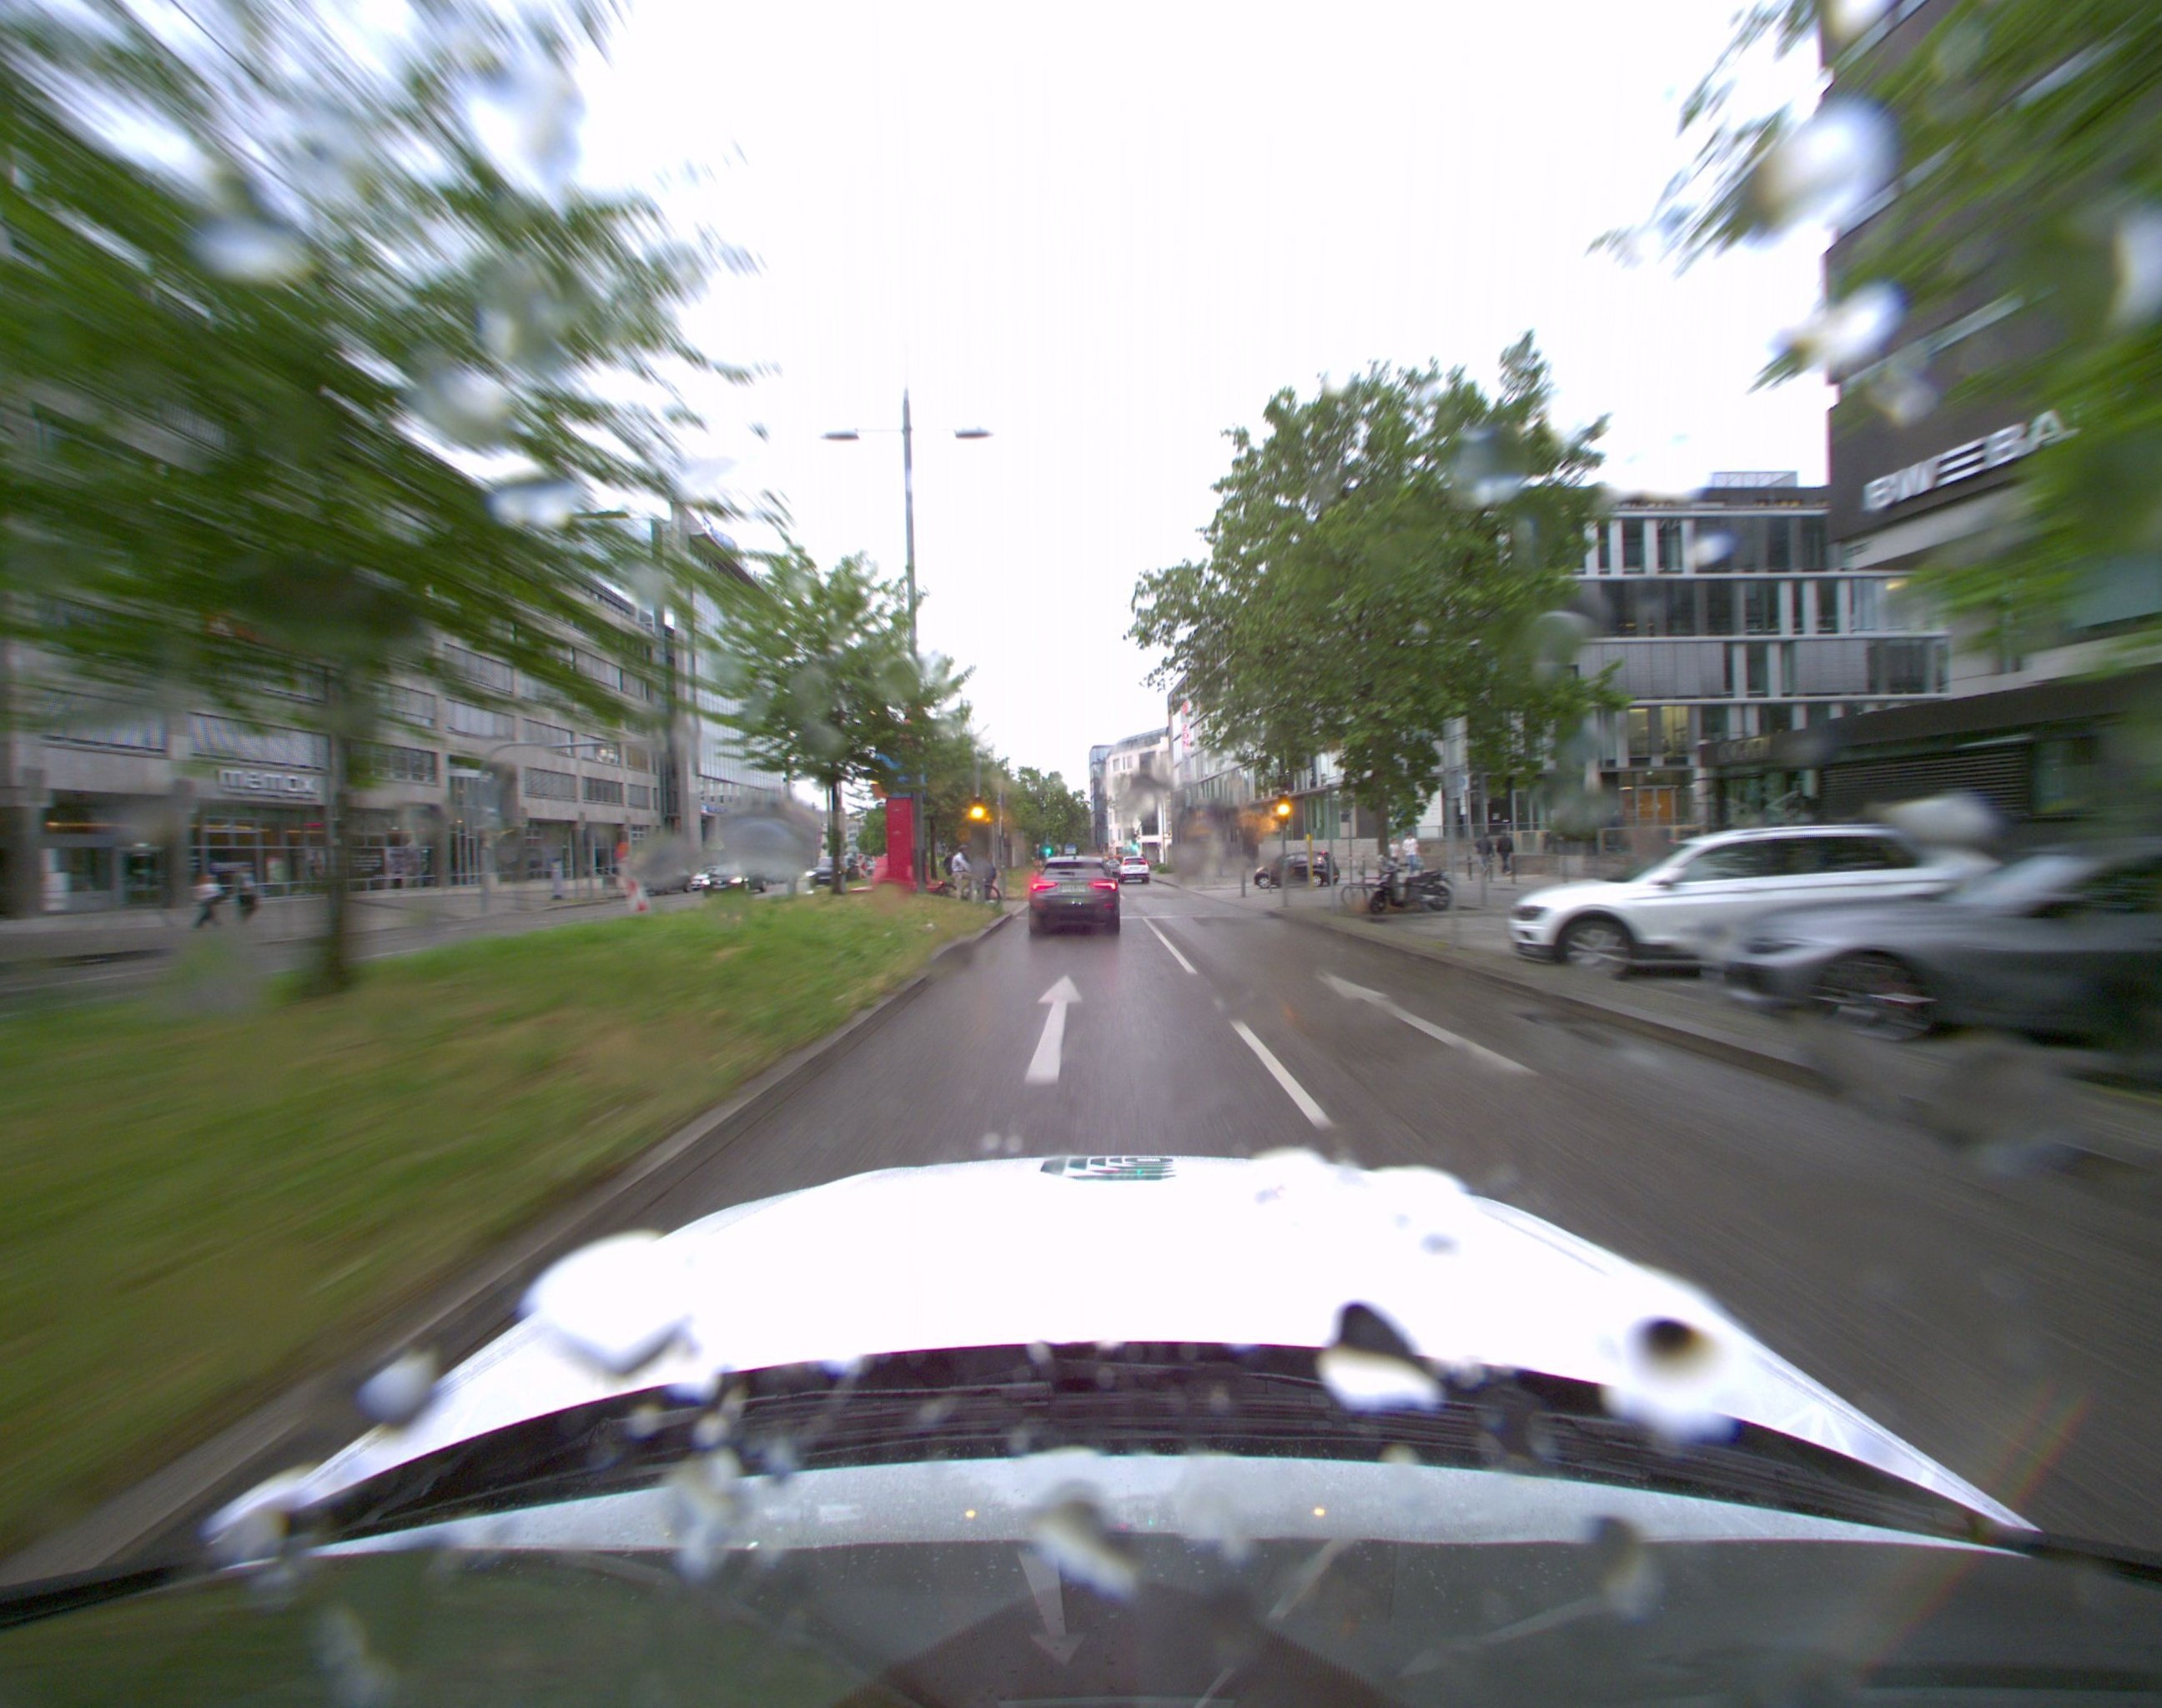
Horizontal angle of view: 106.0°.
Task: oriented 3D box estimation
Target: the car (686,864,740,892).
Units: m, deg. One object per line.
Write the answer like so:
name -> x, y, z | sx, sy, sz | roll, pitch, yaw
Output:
car -> -22.730, 1.460, 50.449 | 1.806, 1.548, 3.992 | -3, -1, -5

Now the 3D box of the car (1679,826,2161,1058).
car -> 7.353, 0.582, 6.260 | 4.252, 1.488, 1.855 | -3, 0, 31

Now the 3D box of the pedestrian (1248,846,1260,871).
pedestrian -> 14.549, 0.374, 68.381 | 0.929, 2.115, 1.079 | -1, -1, 14

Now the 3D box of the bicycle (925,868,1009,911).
bicycle -> -3.208, 1.000, 23.089 | 2.246, 1.162, 0.751 | 1, -1, 1

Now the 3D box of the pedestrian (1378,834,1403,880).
pedestrian -> 13.200, 0.140, 34.723 | 0.860, 1.904, 0.888 | -1, -1, 14

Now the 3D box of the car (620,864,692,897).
car -> -22.248, 1.351, 42.839 | 1.872, 1.536, 4.069 | -3, -1, -5

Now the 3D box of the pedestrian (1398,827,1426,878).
pedestrian -> 14.066, -0.070, 34.616 | 0.929, 2.115, 1.079 | -1, -1, 14

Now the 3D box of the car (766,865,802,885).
car -> -24.916, 1.719, 68.513 | 1.806, 1.548, 3.992 | -3, -1, -5

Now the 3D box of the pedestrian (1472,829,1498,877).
pedestrian -> 15.557, -0.046, 31.386 | 0.635, 1.783, 0.774 | -5, -2, 18

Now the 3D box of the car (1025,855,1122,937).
car -> -0.071, 0.804, 17.630 | 1.842, 1.523, 4.041 | -1, 0, 2

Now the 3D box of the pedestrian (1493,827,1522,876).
pedestrian -> 16.205, -0.110, 30.977 | 0.660, 1.783, 0.923 | -6, -2, 17

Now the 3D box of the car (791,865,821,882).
car -> -26.794, 1.882, 79.481 | 1.806, 1.548, 3.992 | -3, -1, -5

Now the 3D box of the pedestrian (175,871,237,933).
pedestrian -> -23.998, 1.309, 22.334 | 0.988, 1.645, 0.678 | -2, 0, 8

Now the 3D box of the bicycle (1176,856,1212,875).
bicycle -> 7.918, 0.792, 57.088 | 2.334, 1.312, 0.708 | -1, 0, -5

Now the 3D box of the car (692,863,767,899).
car -> -15.224, 1.139, 35.468 | 1.803, 1.310, 3.992 | -3, 1, -6

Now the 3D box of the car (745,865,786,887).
car -> -24.277, 1.638, 62.823 | 1.806, 1.548, 3.992 | -3, -1, -5

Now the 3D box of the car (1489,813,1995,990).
car -> 7.165, 0.504, 9.464 | 4.177, 1.669, 1.850 | -3, 0, 29

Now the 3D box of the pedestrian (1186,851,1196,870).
pedestrian -> 11.788, 0.725, 87.130 | 0.853, 2.014, 0.975 | 0, -1, -3

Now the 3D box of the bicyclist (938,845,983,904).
bicyclist -> -3.403, 0.573, 23.104 | 1.100, 1.622, 0.751 | 2, -1, 1

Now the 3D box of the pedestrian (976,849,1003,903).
pedestrian -> -3.117, 0.738, 27.695 | 0.657, 1.793, 0.754 | -1, -1, 15

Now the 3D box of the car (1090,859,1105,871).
car -> 2.196, 1.433, 106.360 | 1.842, 1.523, 4.041 | -1, 0, 3

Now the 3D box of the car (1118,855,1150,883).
car -> 3.276, 0.896, 50.645 | 1.842, 1.669, 4.041 | -1, 0, 3

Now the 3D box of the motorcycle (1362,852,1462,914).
motorcycle -> 7.640, 0.669, 18.875 | 2.015, 1.415, 0.728 | -1, -1, 10

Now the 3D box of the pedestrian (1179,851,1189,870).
pedestrian -> 11.170, 0.746, 88.305 | 0.853, 2.014, 0.975 | 0, -1, -3

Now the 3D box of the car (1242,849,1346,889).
car -> 8.737, 0.604, 33.601 | 3.815, 1.568, 1.677 | -1, -1, 44

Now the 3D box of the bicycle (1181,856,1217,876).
bicycle -> 7.979, 0.791, 55.226 | 2.334, 1.312, 0.708 | -1, 0, -5

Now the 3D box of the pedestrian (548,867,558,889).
pedestrian -> -33.399, 1.537, 51.535 | 0.350, 1.348, 0.381 | -2, 0, -3

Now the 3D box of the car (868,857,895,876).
car -> -18.674, 1.136, 76.226 | 1.729, 1.558, 3.994 | -3, 1, -4

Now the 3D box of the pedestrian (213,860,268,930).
pedestrian -> -23.838, 1.149, 23.106 | 0.837, 1.918, 0.679 | -2, 0, 10

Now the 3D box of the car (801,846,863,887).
car -> -12.214, 0.571, 40.270 | 1.990, 1.826, 3.994 | -3, 0, -4

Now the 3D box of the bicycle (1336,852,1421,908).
bicycle -> 7.686, 0.678, 21.134 | 1.970, 1.415, 0.728 | -1, -1, 10
